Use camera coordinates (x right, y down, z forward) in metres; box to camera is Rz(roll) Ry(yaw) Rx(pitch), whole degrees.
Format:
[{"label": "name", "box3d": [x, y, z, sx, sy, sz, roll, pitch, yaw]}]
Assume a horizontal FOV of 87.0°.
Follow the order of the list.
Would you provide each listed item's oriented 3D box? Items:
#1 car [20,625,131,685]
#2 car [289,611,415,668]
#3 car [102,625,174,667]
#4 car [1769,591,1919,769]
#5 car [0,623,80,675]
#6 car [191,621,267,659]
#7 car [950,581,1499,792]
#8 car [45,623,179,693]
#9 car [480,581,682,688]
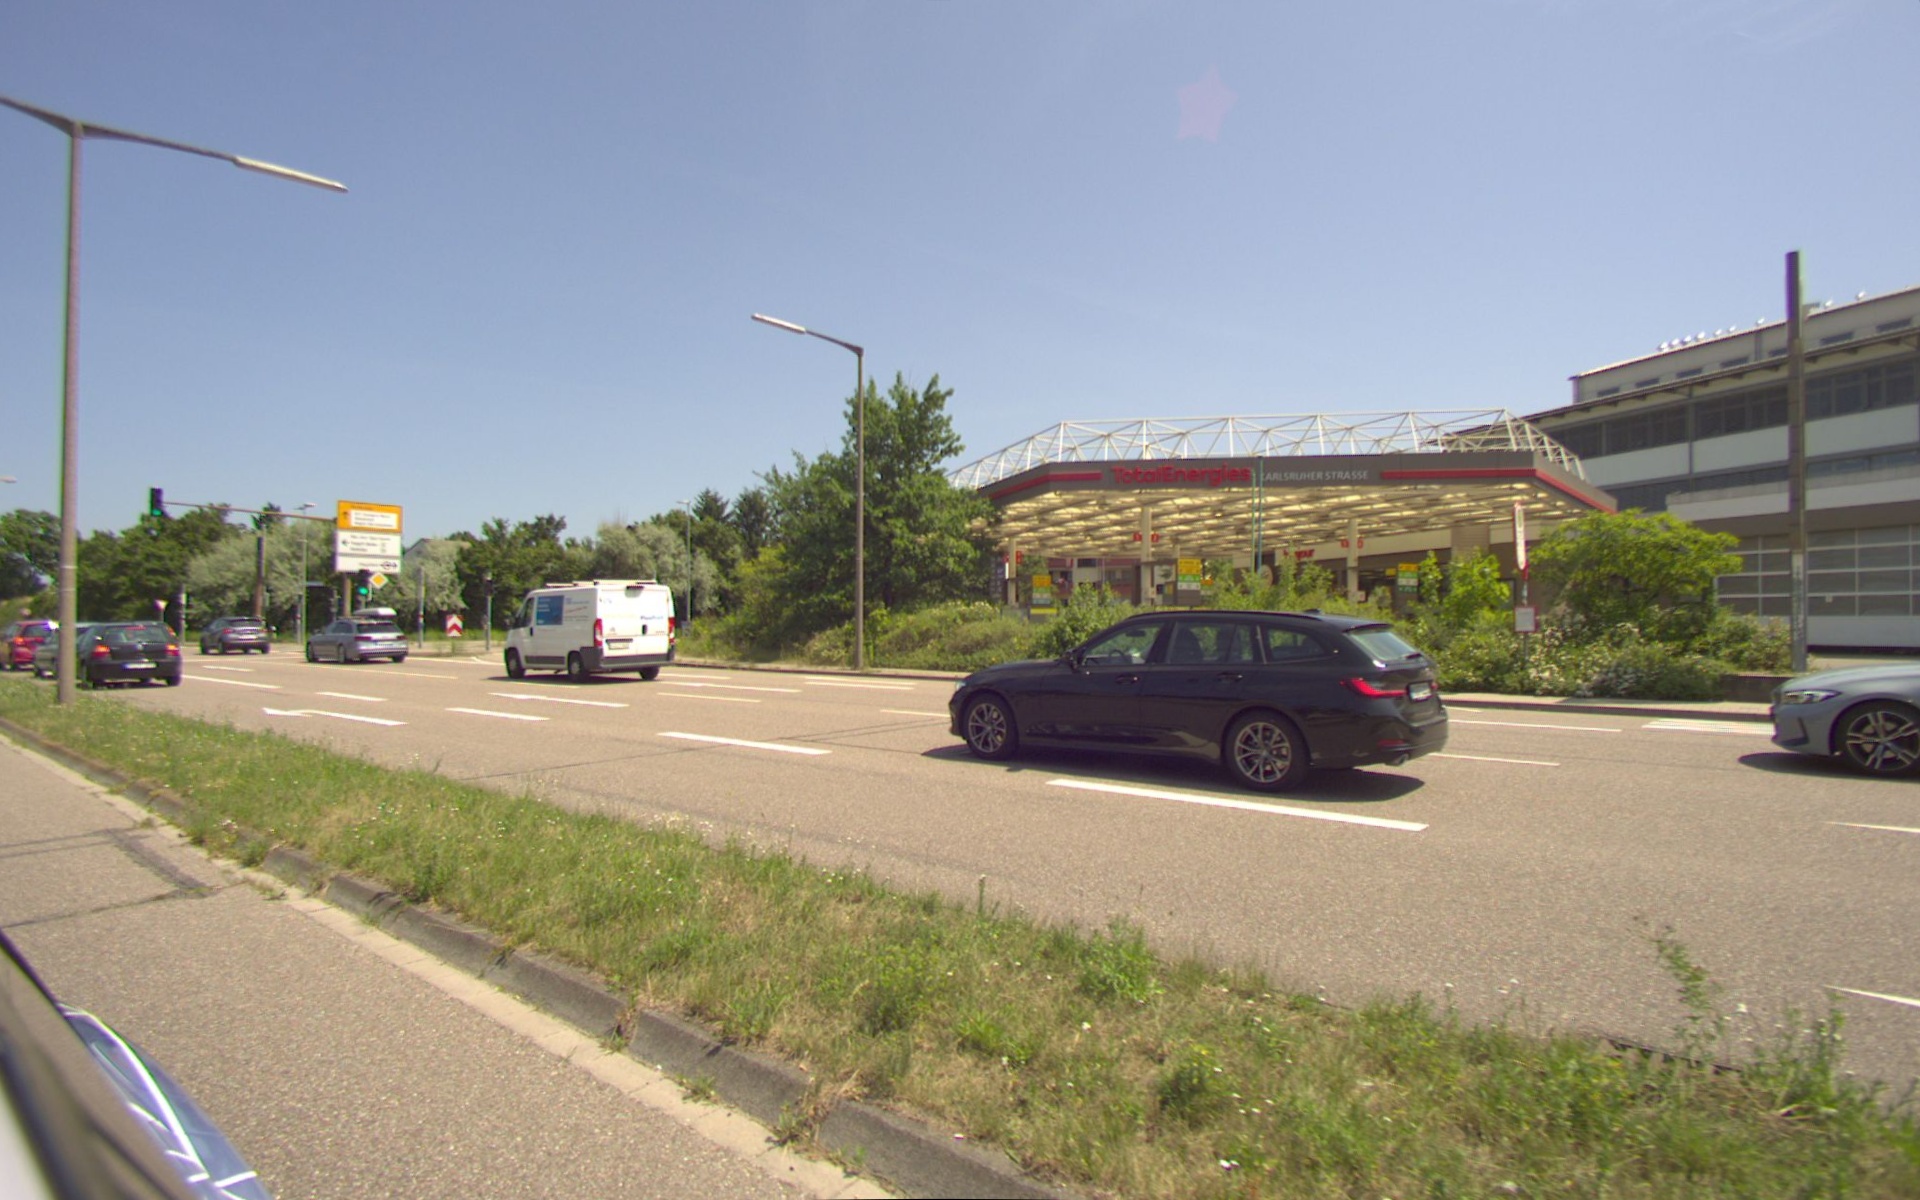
[{"label": "car", "box3d": [-23.245, 1.408, 26.555, 3.849, 1.434, 1.545, -2, -2, 38]}, {"label": "car", "box3d": [-20.293, 1.261, 33.677, 5.015, 1.763, 1.946, -1, -2, 38]}, {"label": "car", "box3d": [-30.552, 1.672, 37.608, 3.502, 1.457, 1.432, -1, -1, 40]}, {"label": "car", "box3d": [9.581, 0.653, 8.079, 4.846, 1.460, 1.813, -1, -2, 39]}, {"label": "car", "box3d": [-28.690, 1.464, 31.195, 3.995, 1.502, 1.642, -1, -2, 39]}, {"label": "car", "box3d": [-31.088, 1.683, 43.005, 3.995, 1.551, 1.642, -1, -1, 39]}, {"label": "car", "box3d": [2.163, 0.665, 9.204, 4.562, 1.469, 1.712, -2, -2, 41]}, {"label": "car", "box3d": [-19.440, 1.255, 23.152, 4.187, 1.445, 1.659, -1, -1, 40]}, {"label": "car", "box3d": [-9.176, 0.769, 24.260, 5.445, 2.290, 2.226, -1, -1, 41]}]
